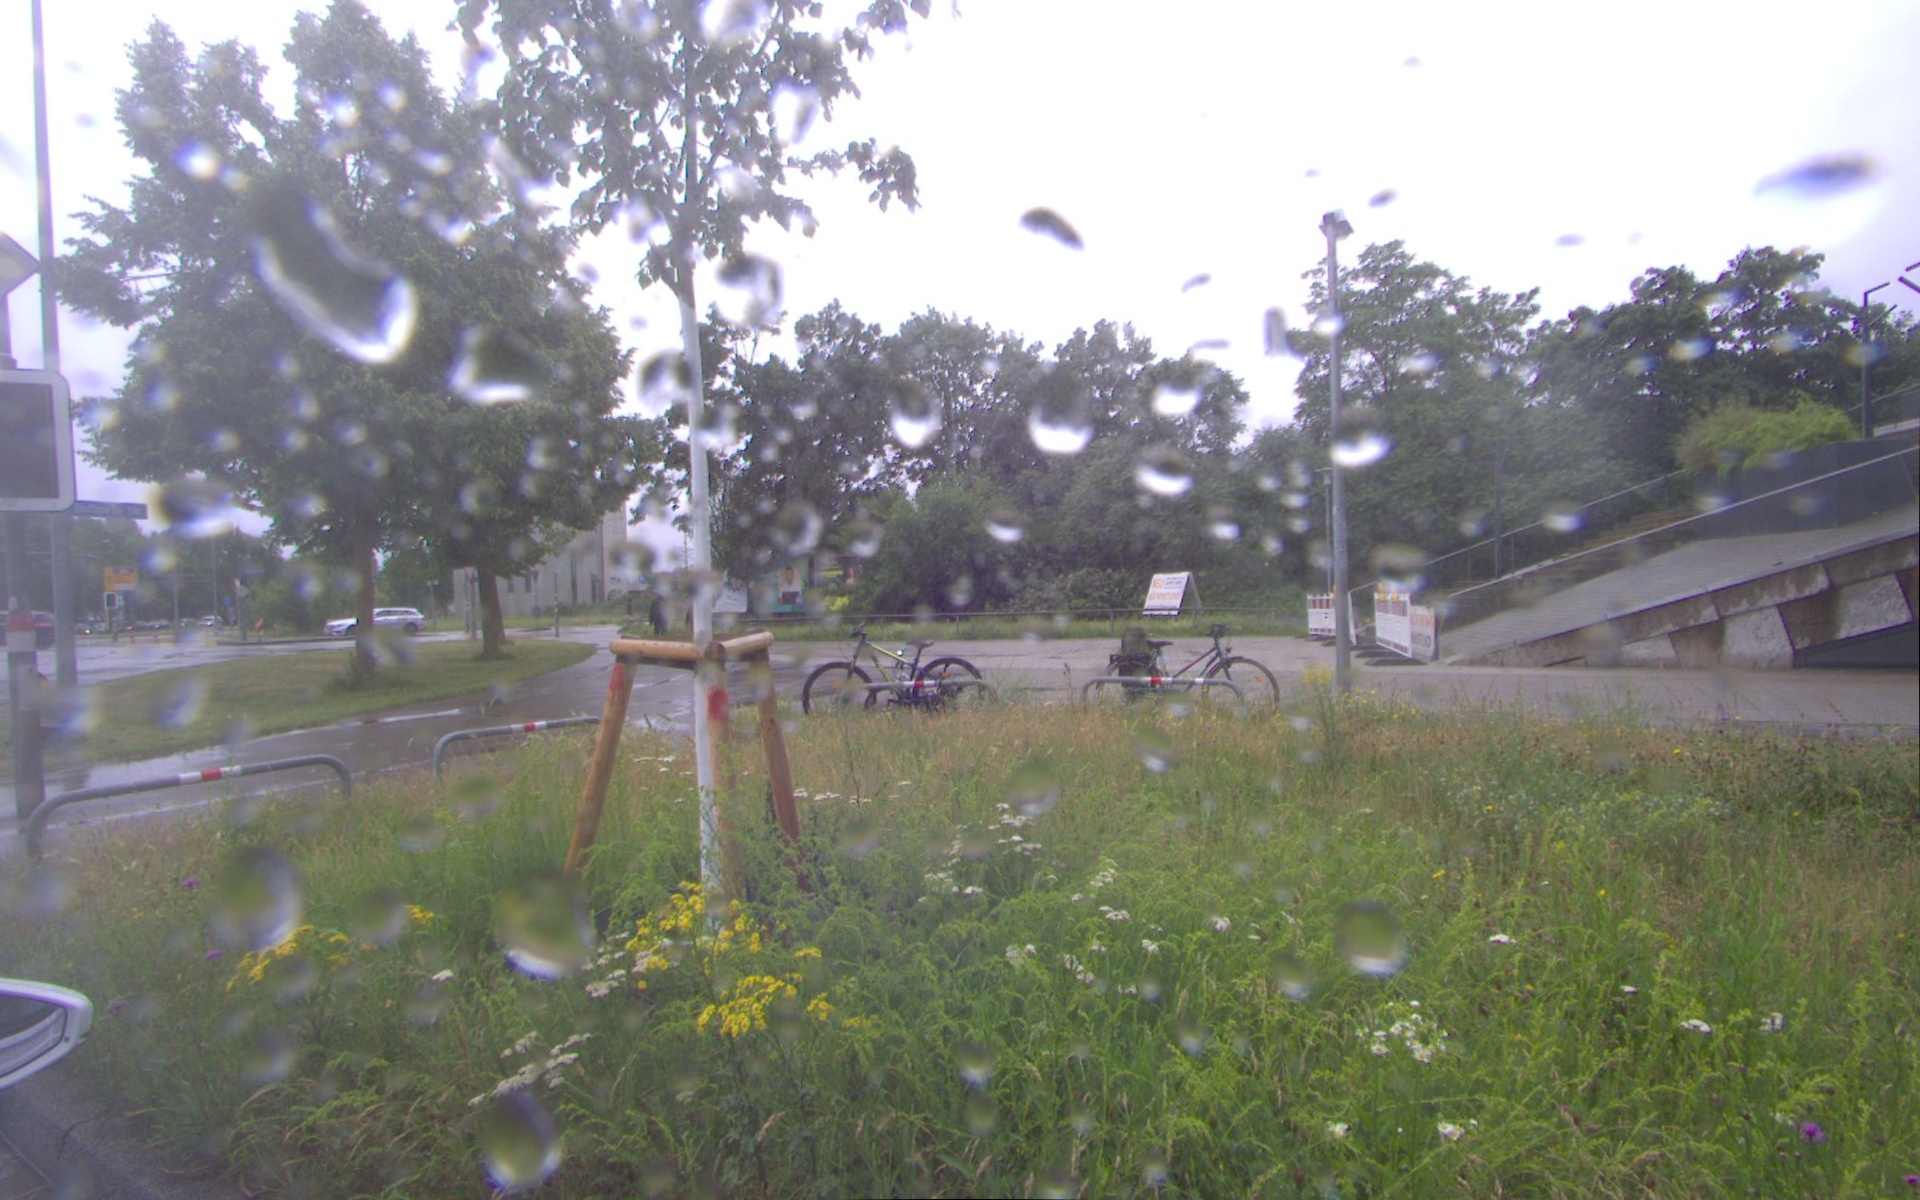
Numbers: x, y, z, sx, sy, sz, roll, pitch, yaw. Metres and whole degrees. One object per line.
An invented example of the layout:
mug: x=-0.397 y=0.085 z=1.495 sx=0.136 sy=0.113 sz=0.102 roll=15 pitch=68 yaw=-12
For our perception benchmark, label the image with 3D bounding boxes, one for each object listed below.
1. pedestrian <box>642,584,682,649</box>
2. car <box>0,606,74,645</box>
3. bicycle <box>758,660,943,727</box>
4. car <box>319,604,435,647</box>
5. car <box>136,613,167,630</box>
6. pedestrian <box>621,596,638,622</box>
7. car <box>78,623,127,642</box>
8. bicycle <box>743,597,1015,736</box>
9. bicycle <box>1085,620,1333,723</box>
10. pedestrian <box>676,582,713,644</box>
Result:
pedestrian: x=-8.435 y=0.467 z=28.337 sx=0.906 sy=1.807 sz=0.808 roll=0 pitch=-1 yaw=-3
car: x=-40.800 y=1.095 z=42.821 sx=3.933 sy=1.668 sz=1.785 roll=1 pitch=-2 yaw=-21
bicycle: x=-1.060 y=0.897 z=9.785 sx=1.771 sy=0.566 sz=0.320 roll=-1 pitch=1 yaw=-17
car: x=-29.838 y=1.259 z=51.435 sx=1.763 sy=1.836 sz=4.809 roll=0 pitch=3 yaw=32
car: x=-95.177 y=2.551 z=117.891 sx=1.763 sy=2.039 sz=3.665 roll=0 pitch=-2 yaw=-20
pedestrian: x=-23.986 y=0.660 z=72.592 sx=0.705 sy=1.794 sz=0.948 roll=-1 pitch=-2 yaw=42
car: x=-82.212 y=3.113 z=96.054 sx=1.964 sy=1.772 sz=3.996 roll=0 pitch=-2 yaw=-14
bicycle: x=-0.749 y=0.586 z=9.417 sx=2.480 sy=1.205 sz=0.552 roll=-1 pitch=1 yaw=-17
bicycle: x=2.271 y=0.616 z=9.248 sx=2.131 sy=0.858 sz=0.634 roll=-1 pitch=0 yaw=29
pedestrian: x=-7.858 y=0.401 z=29.630 sx=0.906 sy=1.807 sz=0.808 roll=0 pitch=-1 yaw=-3
